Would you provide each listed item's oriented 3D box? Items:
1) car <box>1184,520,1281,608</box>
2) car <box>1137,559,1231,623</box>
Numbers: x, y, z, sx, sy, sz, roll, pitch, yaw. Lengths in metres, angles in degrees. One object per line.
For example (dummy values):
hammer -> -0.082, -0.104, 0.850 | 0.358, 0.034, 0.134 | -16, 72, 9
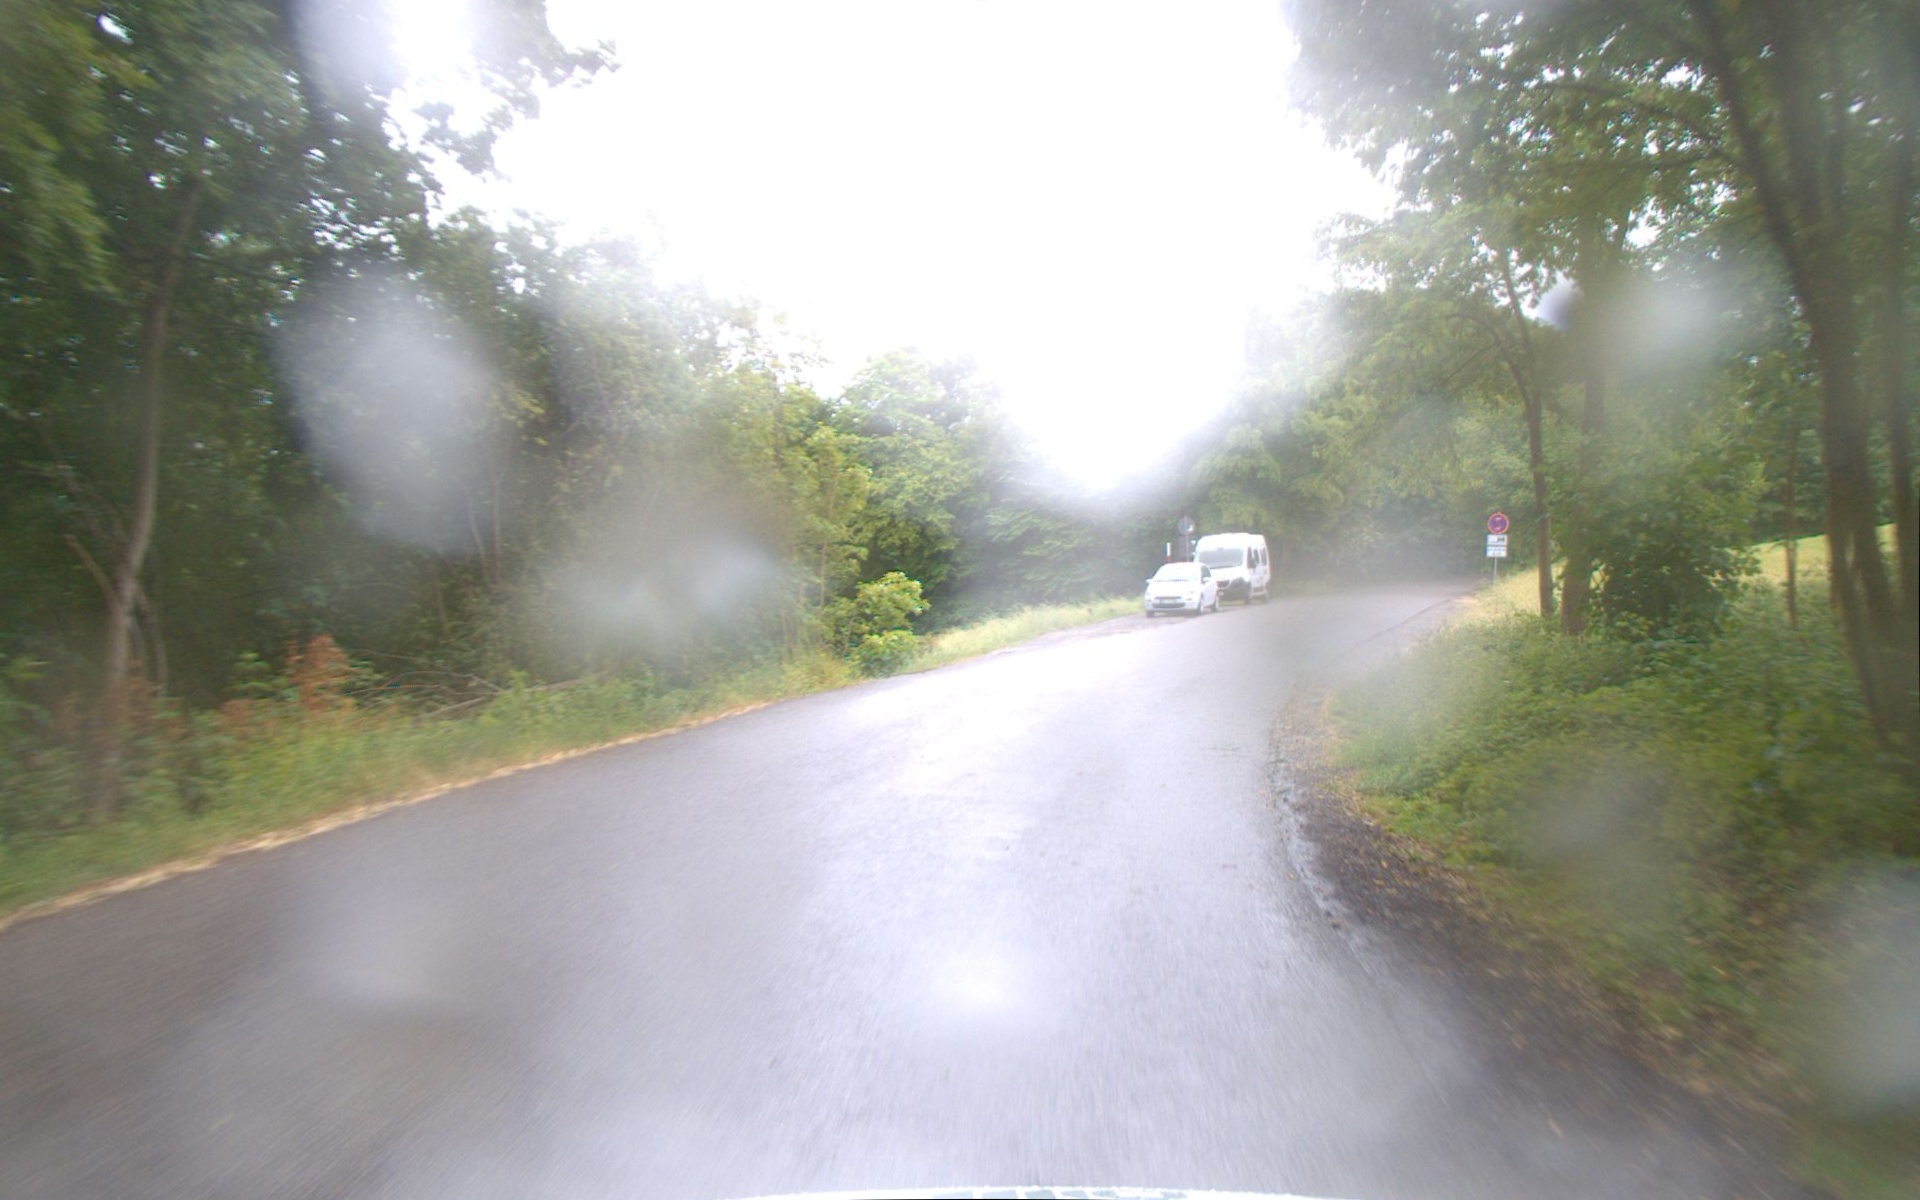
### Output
car -> 9.726, -1.344, 58.610 | 2.225, 2.743, 6.053 | -4, 1, 19
car -> 6.714, -0.302, 49.170 | 1.822, 1.623, 4.498 | -3, 2, 19
